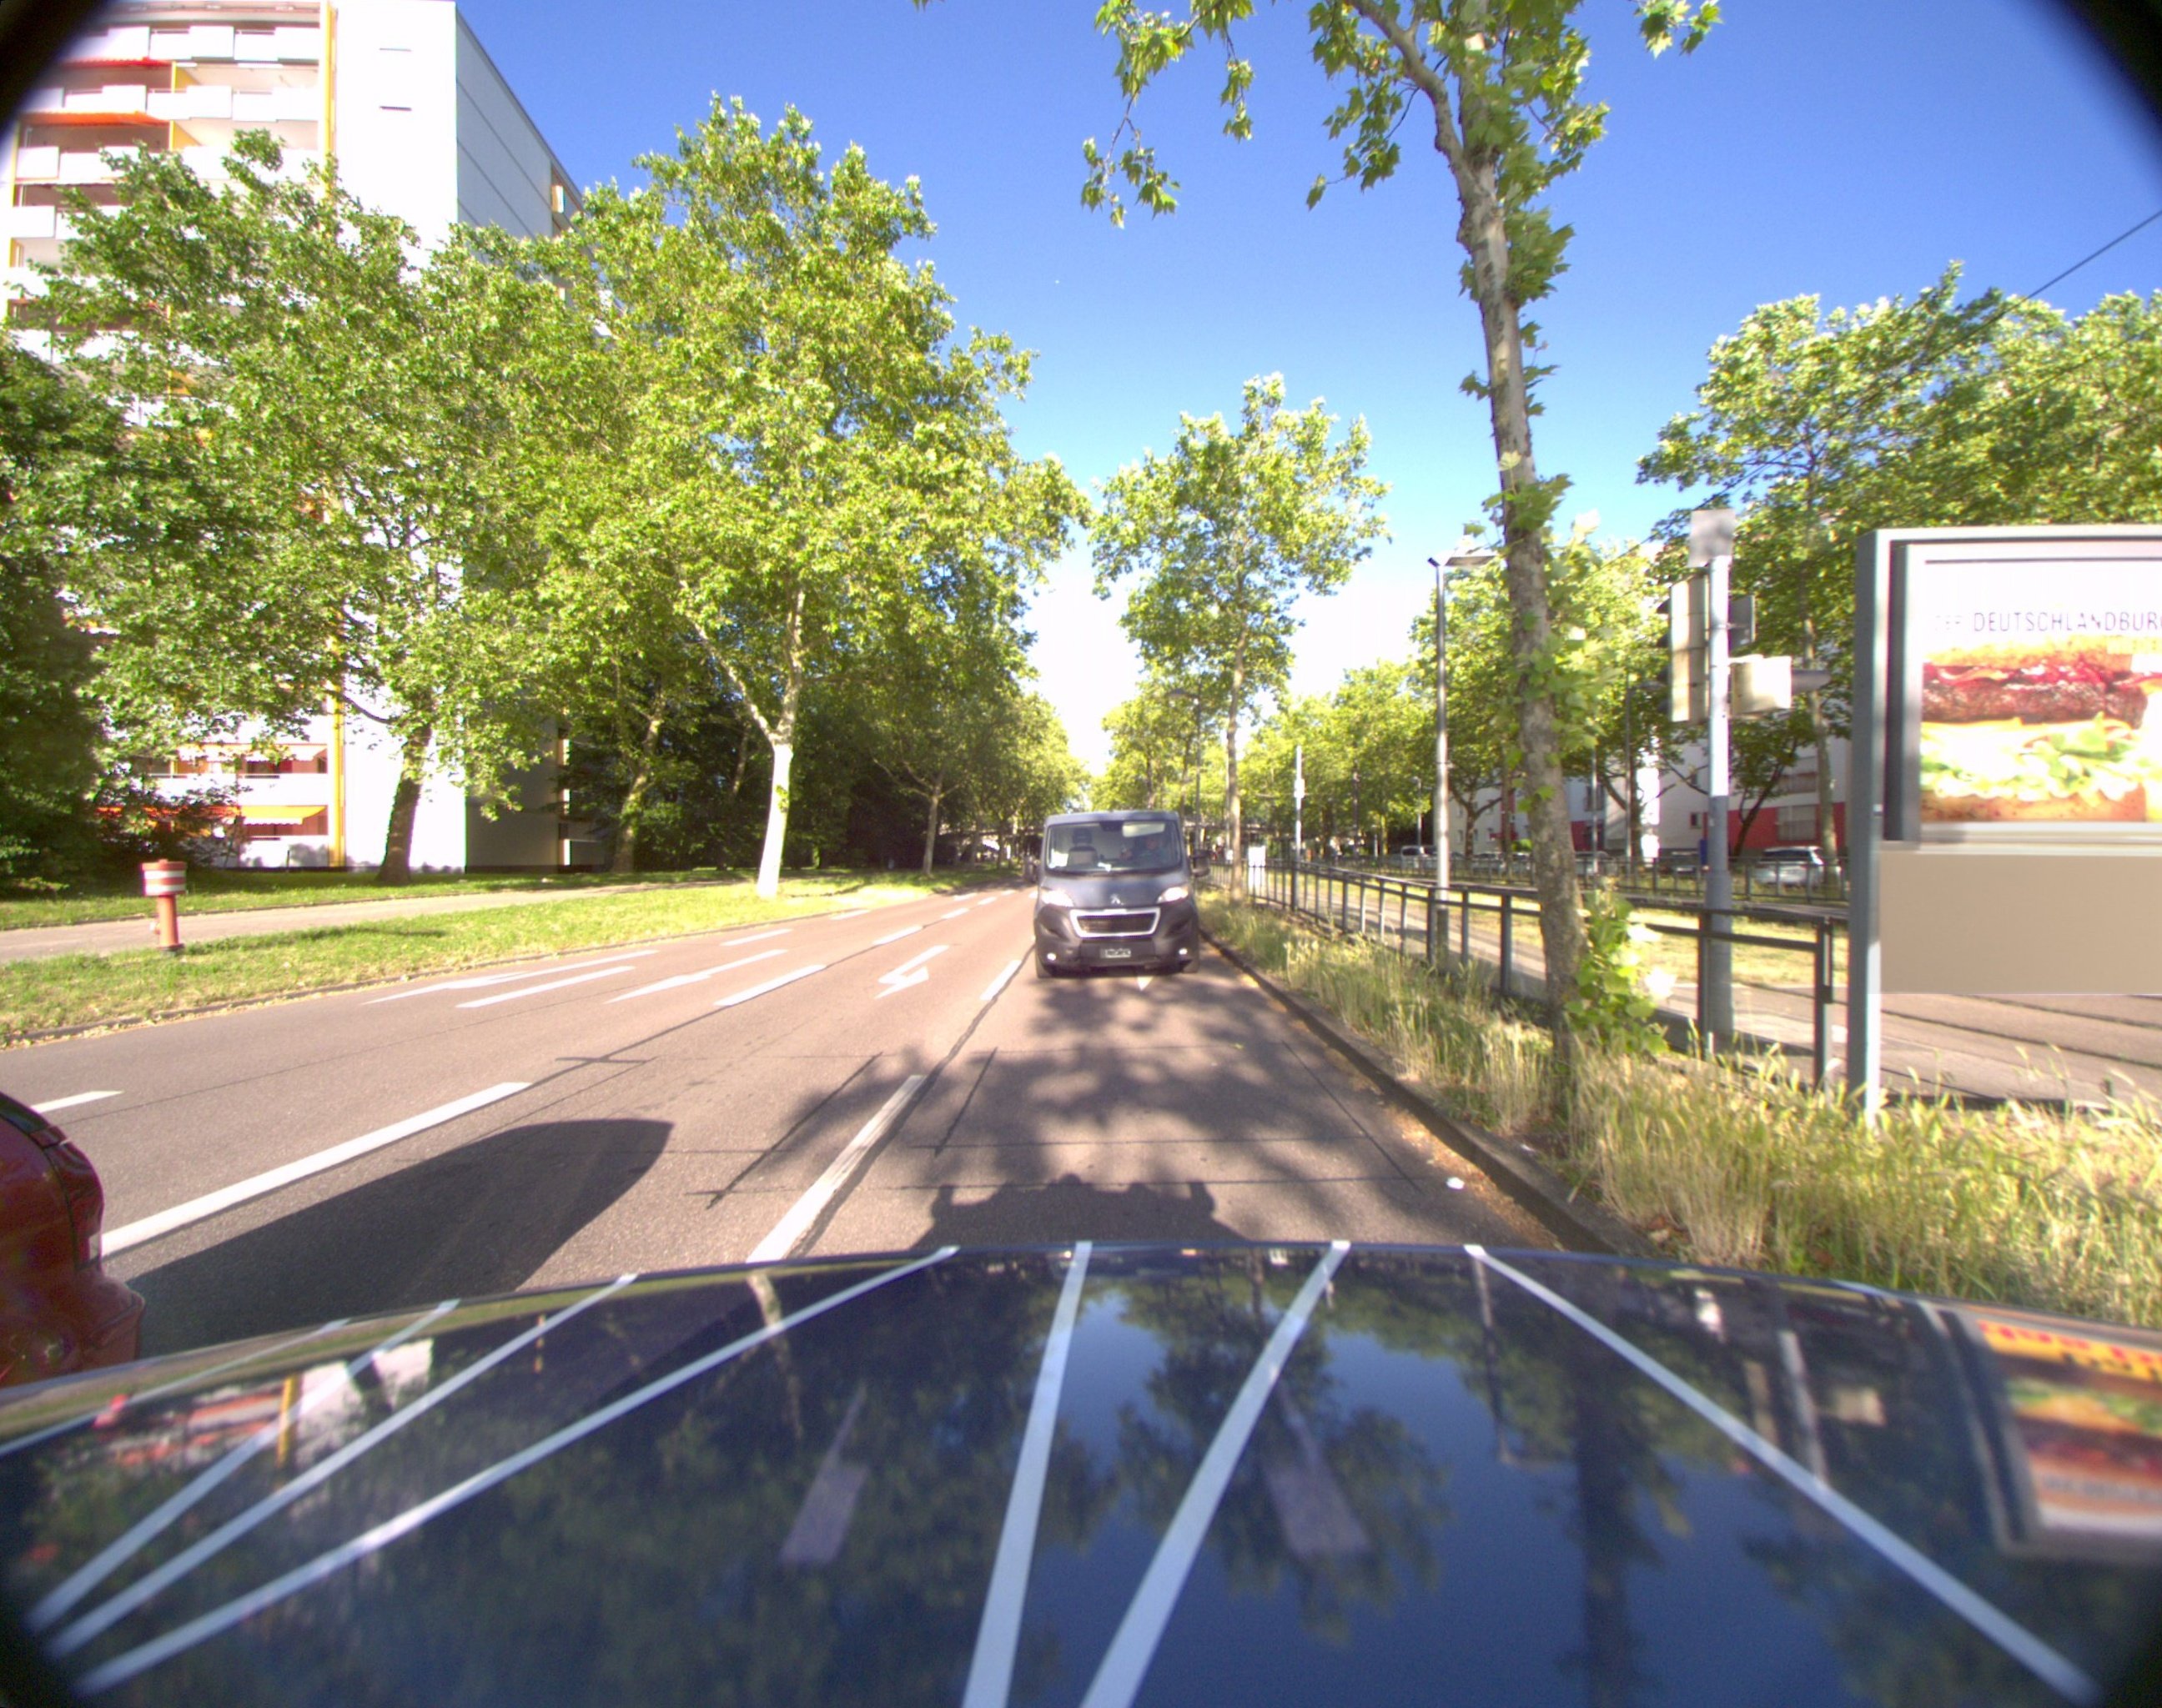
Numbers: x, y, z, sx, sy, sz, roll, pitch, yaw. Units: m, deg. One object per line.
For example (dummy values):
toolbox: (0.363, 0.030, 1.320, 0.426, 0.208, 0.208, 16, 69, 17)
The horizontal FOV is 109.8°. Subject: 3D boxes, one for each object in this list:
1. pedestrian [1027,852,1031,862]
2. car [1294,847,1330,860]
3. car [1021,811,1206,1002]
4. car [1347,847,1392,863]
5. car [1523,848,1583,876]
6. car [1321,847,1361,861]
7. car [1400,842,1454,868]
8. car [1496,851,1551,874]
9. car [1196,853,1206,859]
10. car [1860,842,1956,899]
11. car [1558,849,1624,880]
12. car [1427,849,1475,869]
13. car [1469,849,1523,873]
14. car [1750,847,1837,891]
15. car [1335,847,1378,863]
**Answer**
pedestrian: (-7.303, 0.400, 106.926, 0.417, 1.454, 0.398, -1, 1, -6)
car: (27.203, -0.066, 89.420, 4.376, 1.367, 1.919, -1, 1, -39)
car: (0.402, 0.580, 11.114, 2.040, 2.102, 5.113, -2, 0, 1)
car: (26.658, 0.108, 70.256, 4.376, 1.367, 1.919, -1, 1, -39)
car: (25.811, 0.424, 41.510, 3.689, 1.440, 1.645, -1, 1, -39)
car: (27.244, 0.018, 79.567, 4.376, 1.367, 1.919, -1, 1, -39)
car: (25.961, 0.080, 56.984, 4.376, 1.873, 1.919, -1, 1, -39)
car: (26.200, 0.477, 44.952, 3.689, 1.234, 1.645, -1, 1, -39)
car: (25.847, 0.426, 163.244, 1.672, 1.351, 3.295, -1, 0, 1)
car: (25.017, 0.457, 22.952, 3.689, 1.558, 1.683, -1, 1, -38)
car: (25.330, 0.496, 37.682, 3.689, 1.384, 1.645, -1, 1, -38)
car: (26.246, 0.342, 53.890, 3.689, 1.388, 1.645, -1, 1, -39)
car: (25.957, 0.410, 47.487, 3.689, 1.440, 1.645, -1, 1, -39)
car: (25.055, 0.490, 26.678, 3.689, 1.425, 1.683, -1, 1, -38)
car: (26.589, 0.093, 73.270, 4.376, 1.367, 1.919, -1, 1, -39)
